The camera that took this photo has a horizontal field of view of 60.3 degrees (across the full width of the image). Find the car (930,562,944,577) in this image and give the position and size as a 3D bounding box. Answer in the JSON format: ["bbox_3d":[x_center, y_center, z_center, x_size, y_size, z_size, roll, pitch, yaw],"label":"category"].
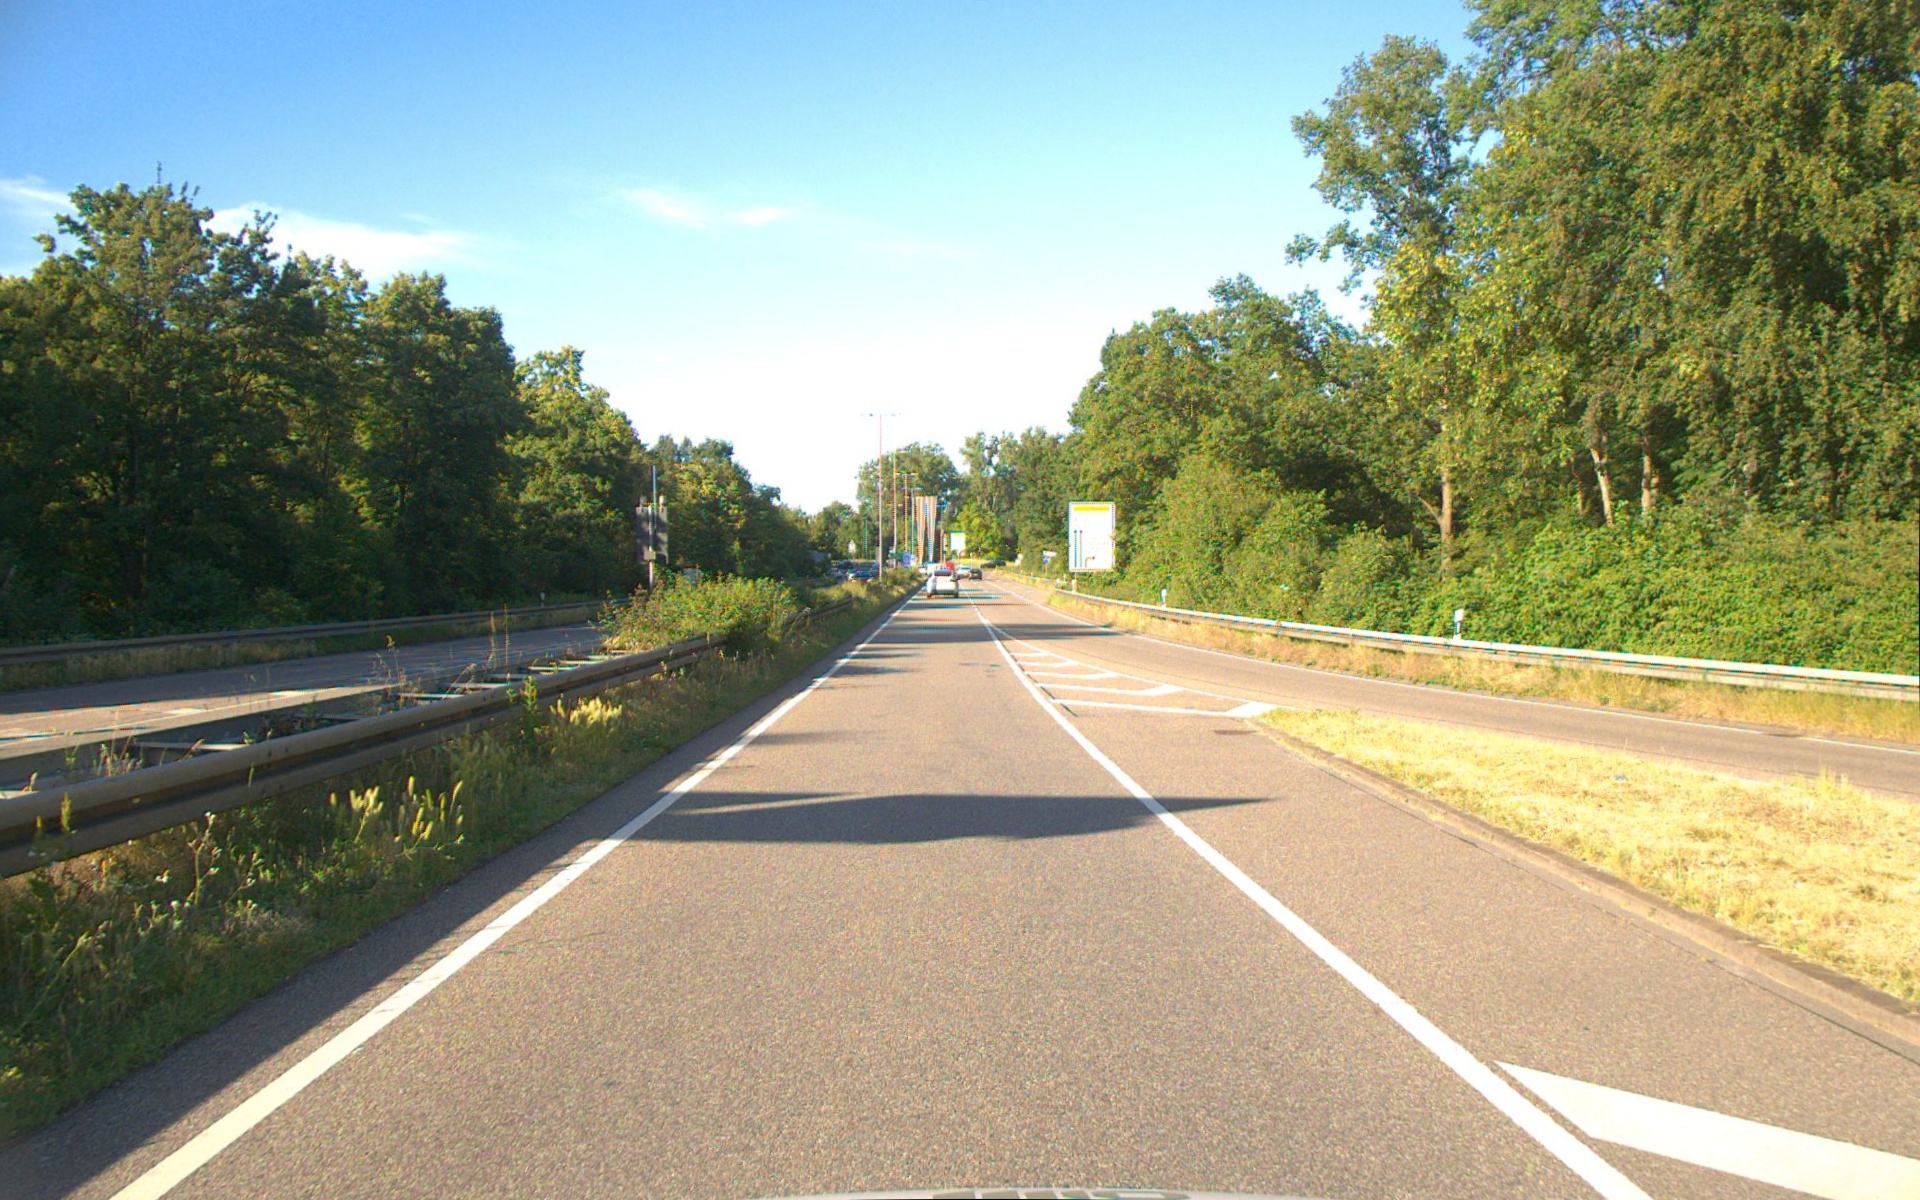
[{"bbox_3d":[-3.270,-4.271,232.383,1.953,2.049,3.999,1,0,-1],"label":"car"}]

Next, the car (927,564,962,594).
[{"bbox_3d":[-0.923,-1.276,98.590,1.953,1.668,4.127,-1,2,-2],"label":"car"}]

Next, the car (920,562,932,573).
[{"bbox_3d":[-5.069,-4.879,245.374,1.790,1.539,3.631,1,0,-1],"label":"car"}]

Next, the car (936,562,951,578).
[{"bbox_3d":[-2.169,-3.901,216.050,1.953,1.912,4.249,-1,2,-1],"label":"car"}]

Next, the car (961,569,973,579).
[{"bbox_3d":[0.935,-3.495,222.138,1.591,1.303,2.987,2,0,-1],"label":"car"}]

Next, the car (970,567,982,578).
[{"bbox_3d":[1.970,-3.418,204.395,1.360,1.303,2.987,2,0,-1],"label":"car"}]

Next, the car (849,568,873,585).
[{"bbox_3d":[-8.673,-2.037,144.986,1.744,1.427,4.554,-1,1,1],"label":"car"}]

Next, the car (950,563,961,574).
[{"bbox_3d":[-0.675,-4.671,244.467,1.591,1.414,2.987,2,0,-1],"label":"car"}]
